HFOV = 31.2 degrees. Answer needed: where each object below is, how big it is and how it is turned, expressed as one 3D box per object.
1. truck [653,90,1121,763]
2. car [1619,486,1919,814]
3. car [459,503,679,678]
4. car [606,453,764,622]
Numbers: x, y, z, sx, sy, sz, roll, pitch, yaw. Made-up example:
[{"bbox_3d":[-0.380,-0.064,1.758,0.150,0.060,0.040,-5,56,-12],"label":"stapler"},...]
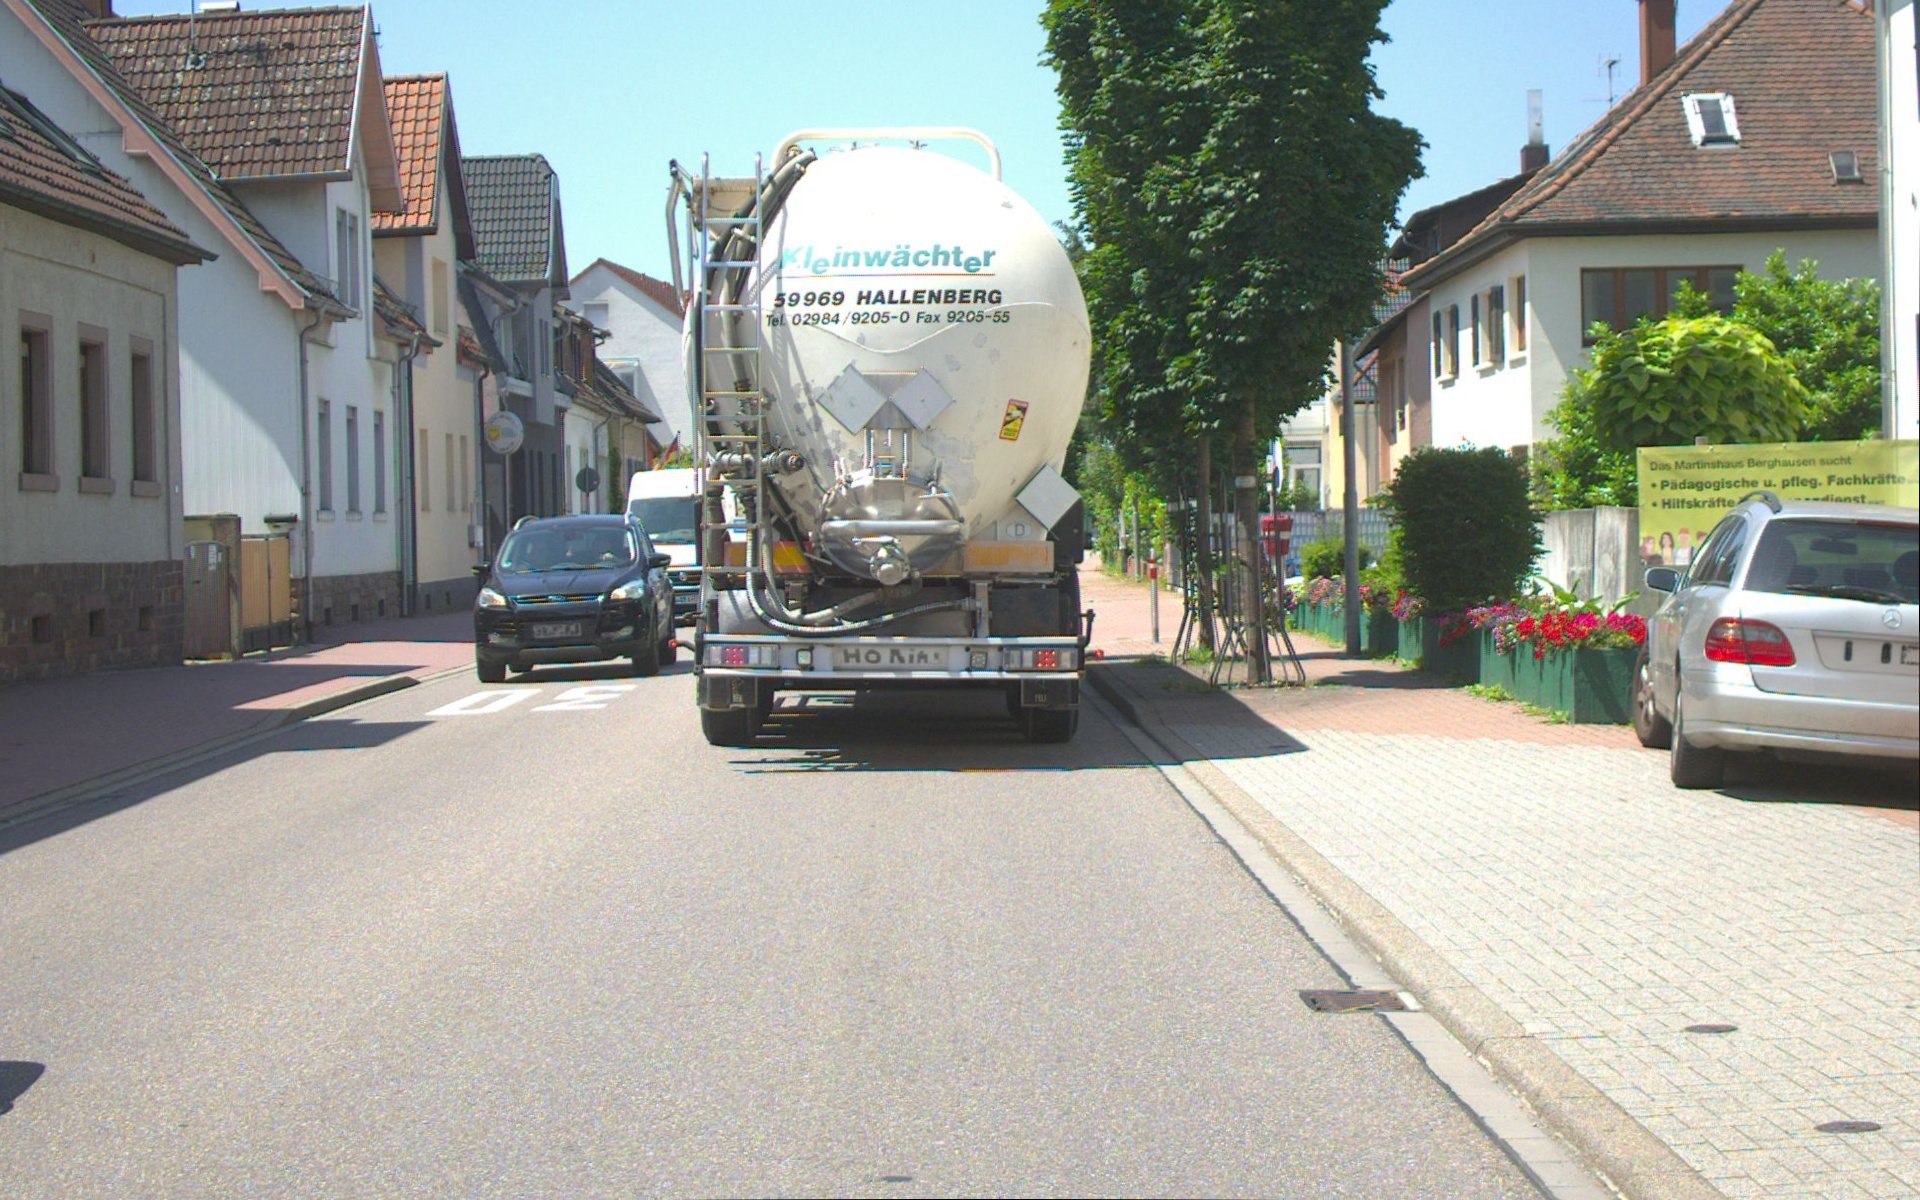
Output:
[{"bbox_3d":[-0.541,-1.074,24.384,2.732,3.946,8.142,0,1,-2],"label":"truck"},{"bbox_3d":[4.627,0.189,18.427,1.815,1.457,4.883,4,2,8],"label":"car"},{"bbox_3d":[-4.041,-0.148,36.142,1.839,1.664,4.324,-2,1,-1],"label":"car"},{"bbox_3d":[-4.284,-1.006,54.485,2.069,2.446,6.008,-2,1,-1],"label":"car"}]
